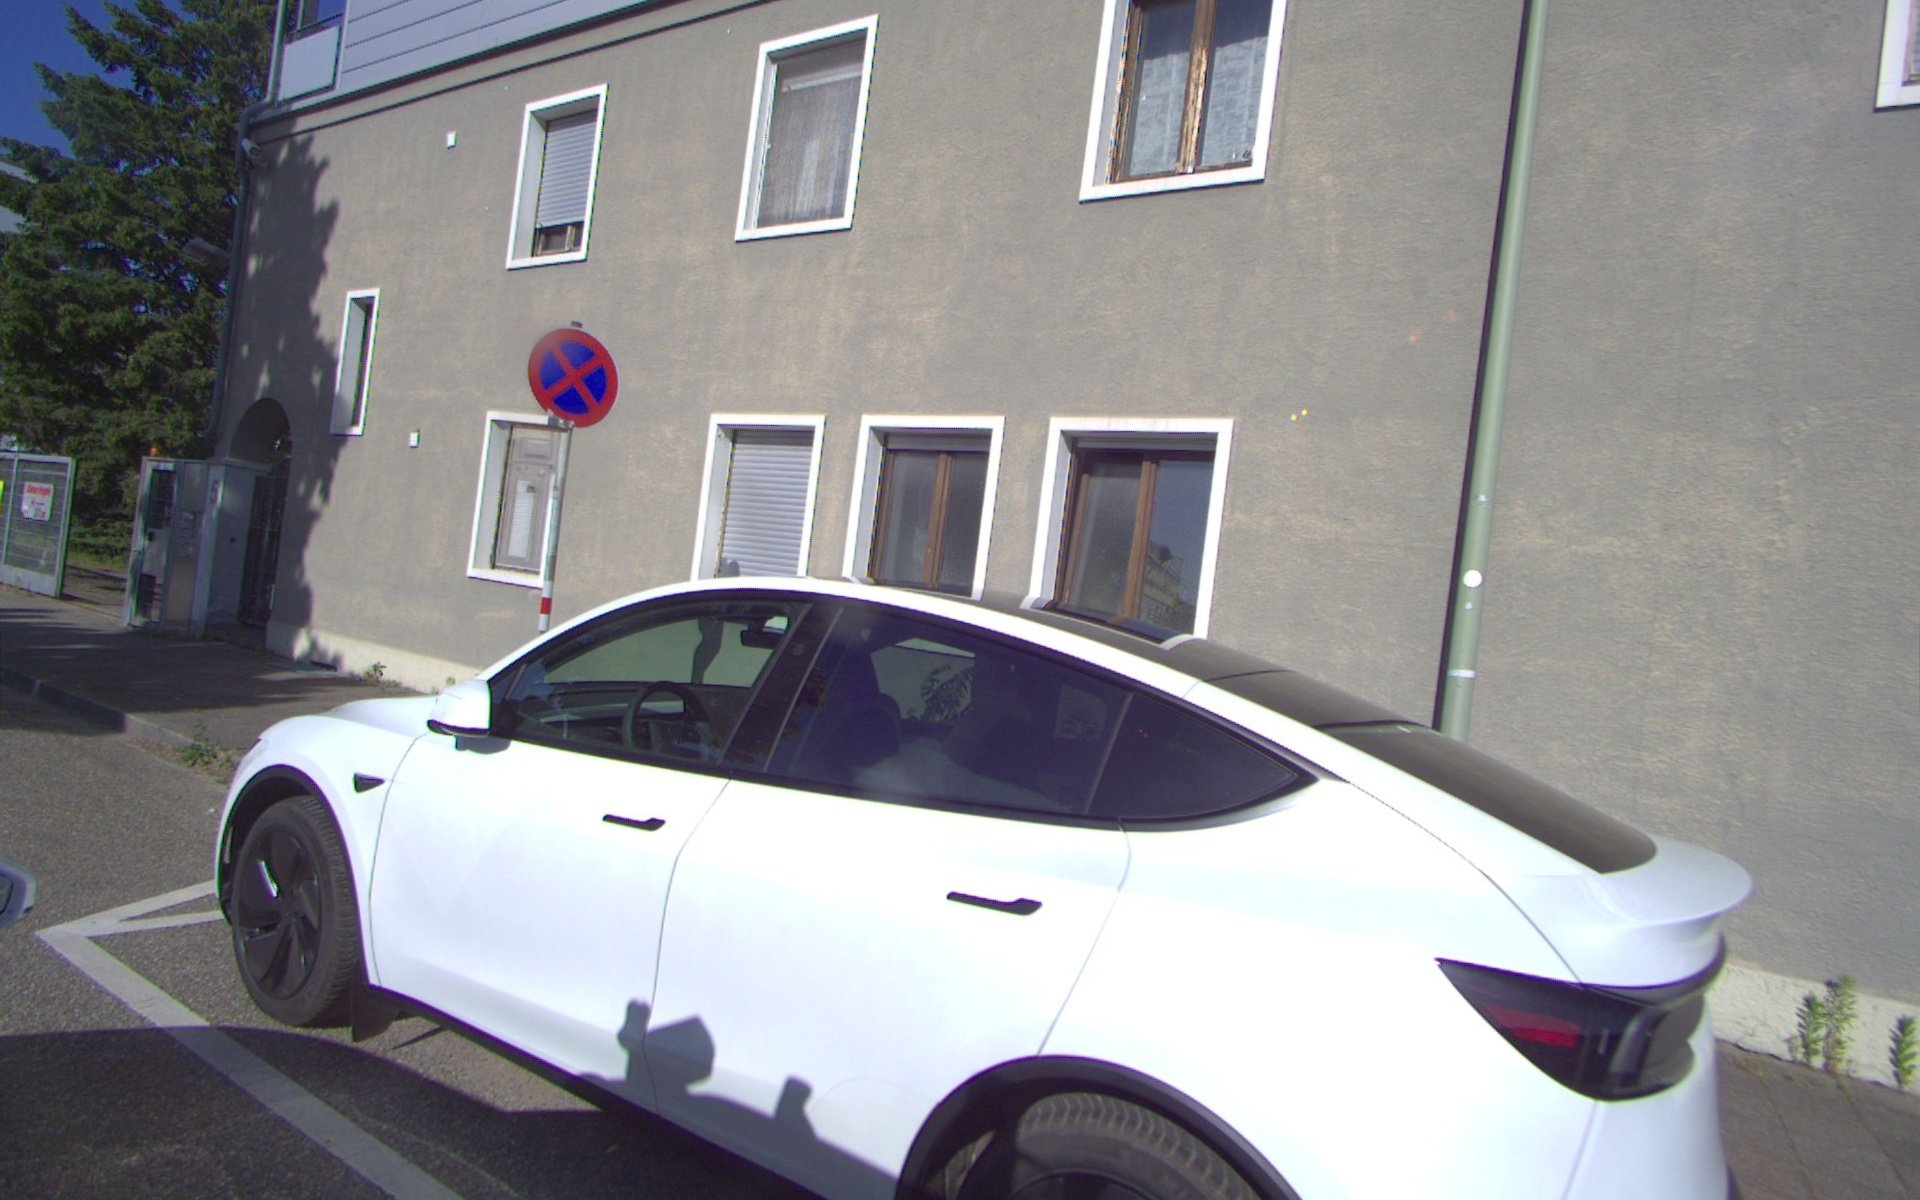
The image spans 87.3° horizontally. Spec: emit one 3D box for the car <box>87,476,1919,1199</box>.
[{"bbox_3d":[-0.493,0.703,3.207,4.689,1.664,1.935,7,0,30],"label":"car"}]
